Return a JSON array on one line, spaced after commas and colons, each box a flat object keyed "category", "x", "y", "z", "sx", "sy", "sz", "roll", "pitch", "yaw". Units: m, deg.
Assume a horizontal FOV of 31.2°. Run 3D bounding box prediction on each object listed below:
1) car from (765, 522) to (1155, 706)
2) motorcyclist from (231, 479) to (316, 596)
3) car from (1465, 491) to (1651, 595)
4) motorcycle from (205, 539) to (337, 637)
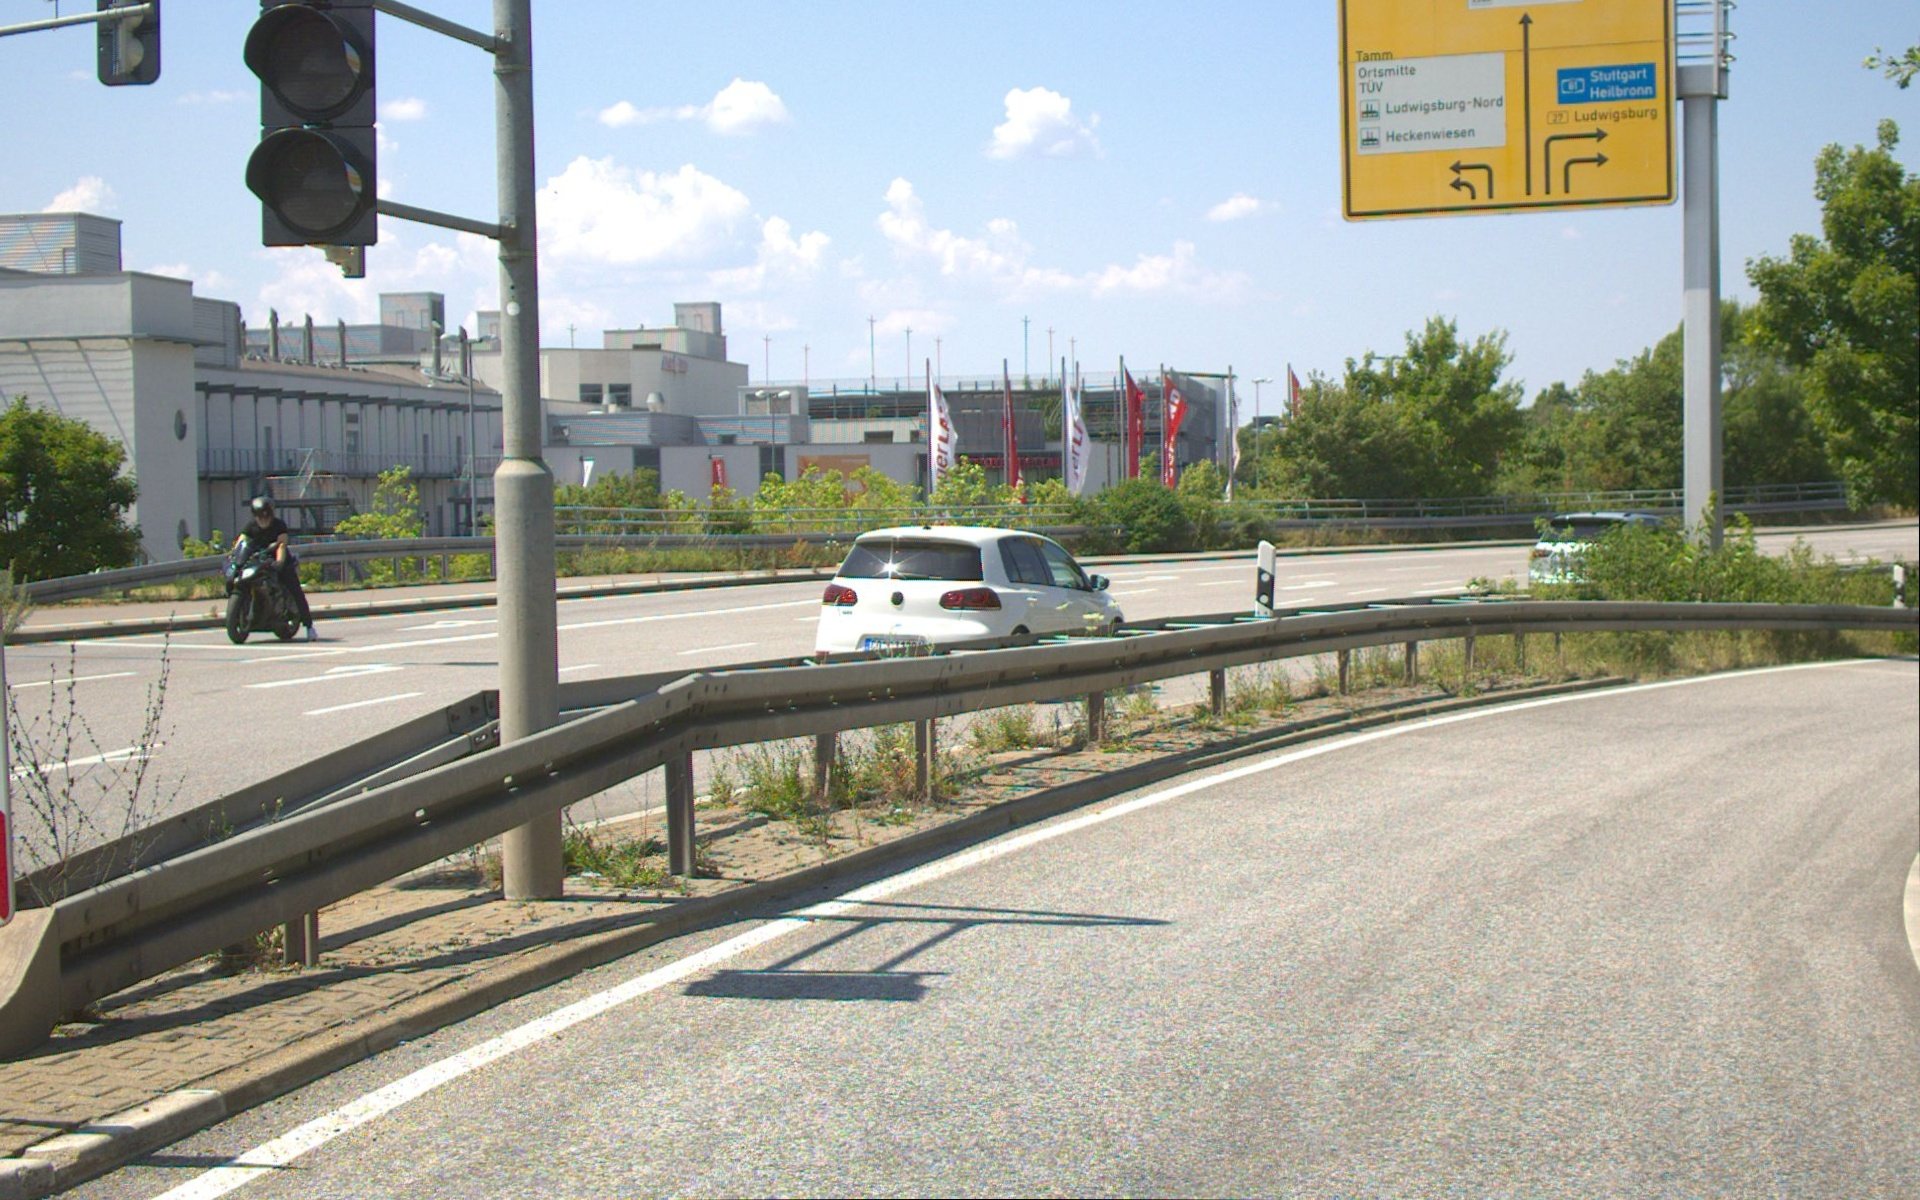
[{"category": "car", "x": 0.088, "y": 0.082, "z": 30.230, "sx": 1.996, "sy": 1.481, "sz": 4.130, "roll": 1, "pitch": 1, "yaw": 22}, {"category": "motorcyclist", "x": -7.818, "y": -0.716, "z": 39.188, "sx": 0.675, "sy": 1.298, "sz": 0.723, "roll": -2, "pitch": 1, "yaw": 13}, {"category": "car", "x": 9.369, "y": -0.903, "z": 53.581, "sx": 1.995, "sy": 1.500, "sz": 4.391, "roll": -1, "pitch": 1, "yaw": 21}, {"category": "motorcycle", "x": -7.820, "y": -0.152, "z": 39.123, "sx": 0.563, "sy": 1.076, "sz": 2.283, "roll": -1, "pitch": 1, "yaw": 13}]
